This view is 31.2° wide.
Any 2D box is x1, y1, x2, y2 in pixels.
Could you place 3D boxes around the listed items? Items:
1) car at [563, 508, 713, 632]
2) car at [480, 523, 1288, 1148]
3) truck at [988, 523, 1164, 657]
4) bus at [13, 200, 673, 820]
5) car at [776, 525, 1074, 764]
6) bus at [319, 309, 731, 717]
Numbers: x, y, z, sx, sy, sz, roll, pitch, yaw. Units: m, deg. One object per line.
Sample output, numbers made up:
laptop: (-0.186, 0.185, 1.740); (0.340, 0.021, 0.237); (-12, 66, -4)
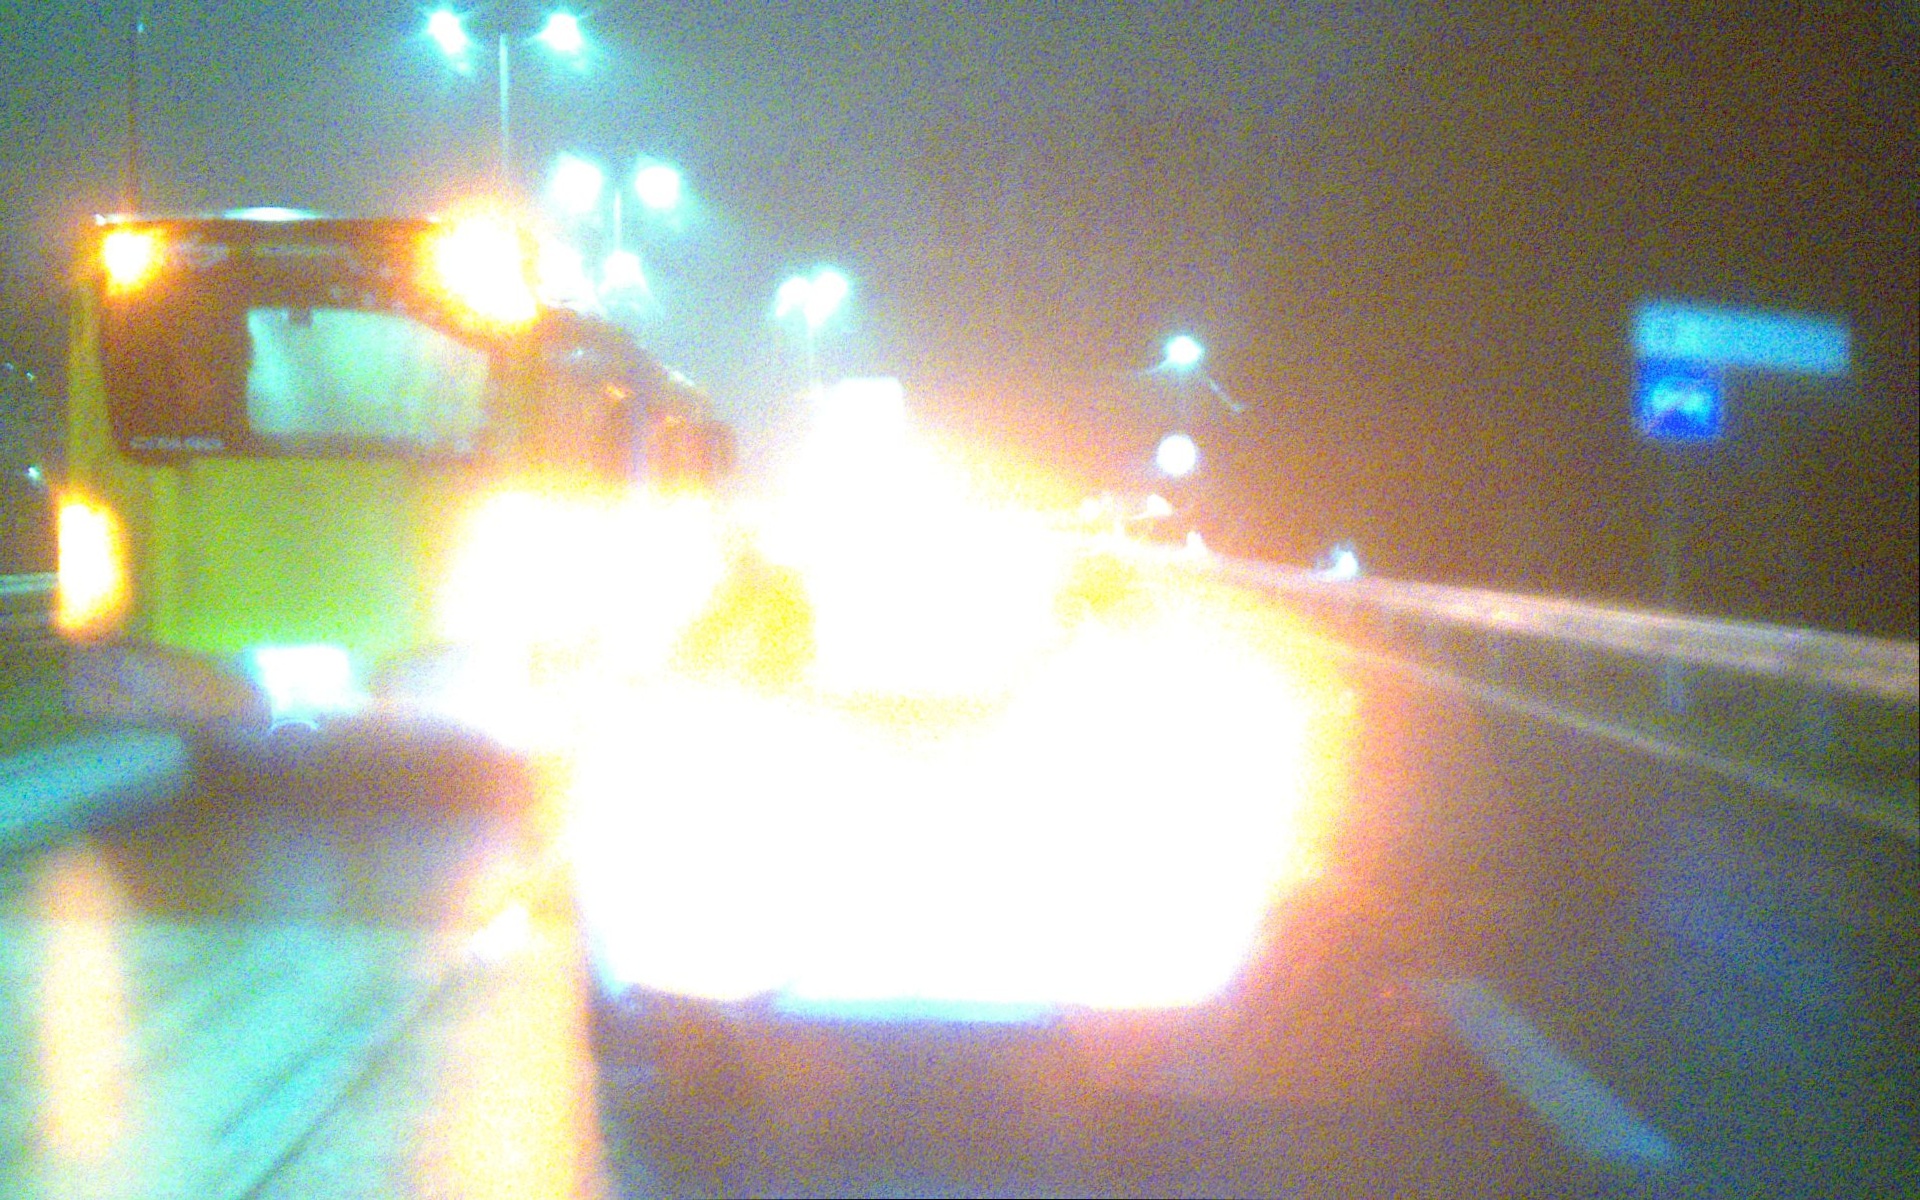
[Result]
car: (-4.117, -0.373, 44.393); (1.557, 1.481, 3.809); (2, 0, 0)
car: (-0.093, 0.538, 10.165); (1.944, 1.486, 3.716); (1, 1, 3)
truck: (2.463, -0.186, 70.441); (3.070, 2.520, 7.165); (2, 0, 6)
bus: (-3.566, -0.580, 22.333); (2.743, 3.112, 9.202); (2, 1, -1)
car: (-0.226, 0.248, 23.015); (1.822, 1.456, 3.716); (1, 1, 0)
bus: (-3.703, -0.798, 31.305); (2.743, 3.112, 8.704); (2, 1, -1)
